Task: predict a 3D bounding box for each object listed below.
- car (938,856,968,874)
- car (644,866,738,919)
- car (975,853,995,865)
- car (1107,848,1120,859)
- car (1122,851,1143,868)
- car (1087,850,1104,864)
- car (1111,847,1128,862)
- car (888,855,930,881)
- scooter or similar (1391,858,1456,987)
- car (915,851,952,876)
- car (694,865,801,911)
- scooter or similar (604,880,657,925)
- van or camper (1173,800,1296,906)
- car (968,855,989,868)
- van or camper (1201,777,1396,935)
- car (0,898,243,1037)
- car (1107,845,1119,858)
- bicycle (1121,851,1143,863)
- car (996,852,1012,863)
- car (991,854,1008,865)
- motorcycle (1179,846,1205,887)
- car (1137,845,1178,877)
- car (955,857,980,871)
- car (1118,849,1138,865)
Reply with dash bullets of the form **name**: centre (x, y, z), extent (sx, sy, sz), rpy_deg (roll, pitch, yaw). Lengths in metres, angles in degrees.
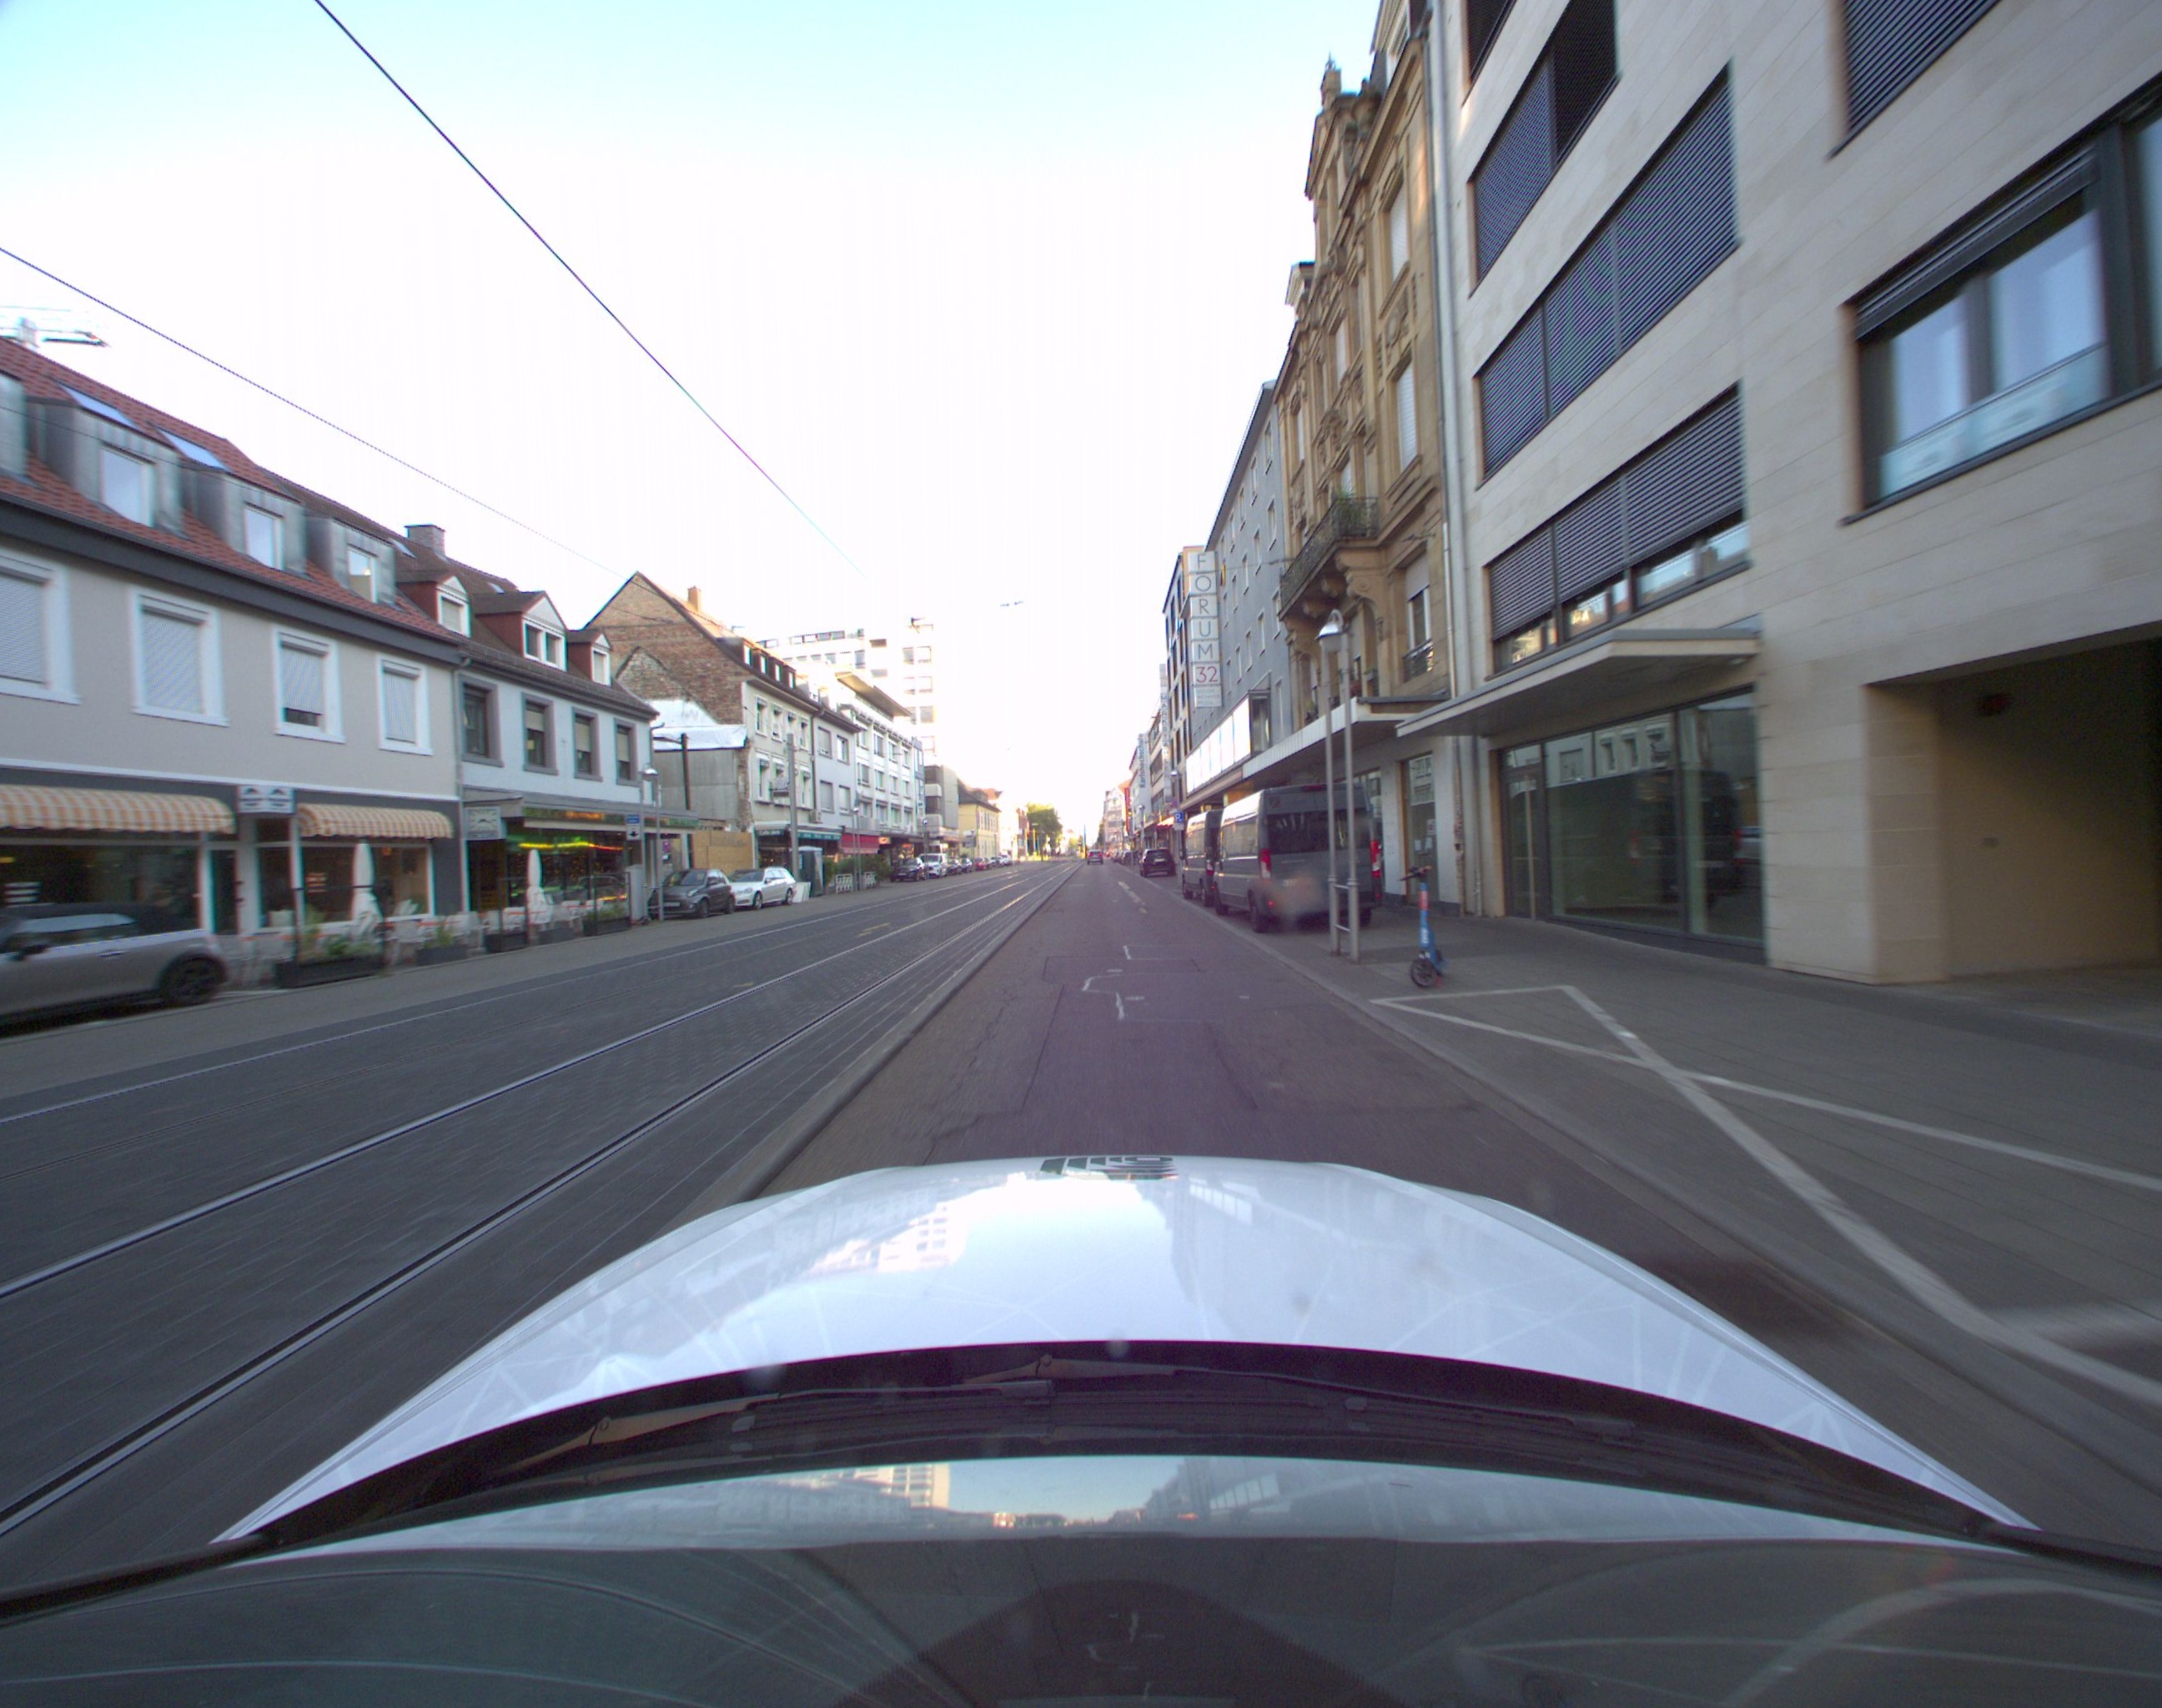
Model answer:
- **car**: centre (-11.385, 0.954, 72.559), extent (1.911, 1.521, 4.630), rpy_deg (0, 0, 0)
- **car**: centre (-12.177, 1.168, 25.617), extent (1.586, 1.504, 2.812), rpy_deg (0, 0, 0)
- **car**: centre (-11.082, 0.579, 93.953), extent (1.785, 1.339, 3.891), rpy_deg (0, 0, 0)
- **car**: centre (5.231, -0.079, 131.826), extent (1.936, 1.703, 4.546), rpy_deg (-4, 0, 2)
- **car**: centre (5.288, 0.499, 83.638), extent (1.936, 1.544, 4.546), rpy_deg (-4, 0, 2)
- **car**: centre (1.737, 0.369, 96.050), extent (1.936, 1.545, 4.546), rpy_deg (-2, 0, 2)
- **car**: centre (4.962, 0.013, 105.177), extent (1.936, 1.703, 4.546), rpy_deg (-4, 0, 2)
- **car**: centre (-11.942, 0.931, 56.925), extent (1.910, 1.763, 4.431), rpy_deg (0, 0, 1)
- **scooter or similar**: centre (3.660, 0.697, 8.674), extent (0.350, 1.224, 1.123), rpy_deg (-5, 0, 34)
- **car**: centre (-11.678, 0.738, 64.758), extent (1.910, 1.935, 4.843), rpy_deg (0, 0, 1)
- **car**: centre (-12.178, 1.192, 30.138), extent (1.843, 1.504, 4.843), rpy_deg (0, 0, 1)
- **scooter or similar**: centre (-12.372, 1.334, 22.363), extent (1.309, 1.205, 0.294), rpy_deg (0, 0, 1)
- **van or camper**: centre (4.076, -0.042, 22.692), extent (2.182, 2.426, 5.516), rpy_deg (-4, 0, 0)
- **car**: centre (-11.171, 0.798, 88.628), extent (1.785, 1.339, 3.891), rpy_deg (0, 0, 0)
- **van or camper**: centre (4.009, 0.017, 16.381), extent (2.181, 2.426, 6.133), rpy_deg (-4, 0, 1)
- **car**: centre (-12.796, 1.321, 9.614), extent (1.727, 1.389, 3.866), rpy_deg (0, 0, 2)
- **car**: centre (5.645, -0.402, 143.674), extent (1.936, 2.145, 4.546), rpy_deg (-4, 0, 2)
- **bicycle**: centre (4.980, 0.300, 79.955), extent (2.113, 1.090, 0.591), rpy_deg (-3, 0, -2)
- **car**: centre (-10.673, 0.454, 113.179), extent (1.785, 1.449, 3.891), rpy_deg (0, 0, 0)
- **car**: centre (-10.741, 0.731, 107.135), extent (1.785, 1.449, 3.891), rpy_deg (0, 0, 0)
- **motorcycle**: centre (4.159, 0.453, 30.462), extent (0.808, 1.416, 2.010), rpy_deg (-4, 0, 9)
- **car**: centre (4.237, 0.342, 45.591), extent (1.936, 1.544, 4.546), rpy_deg (-4, 0, 2)
- **car**: centre (-10.973, 0.937, 78.853), extent (1.785, 1.339, 3.891), rpy_deg (0, 0, 0)
- **car**: centre (5.175, 0.295, 89.859), extent (1.936, 1.544, 4.546), rpy_deg (-4, 0, 2)
